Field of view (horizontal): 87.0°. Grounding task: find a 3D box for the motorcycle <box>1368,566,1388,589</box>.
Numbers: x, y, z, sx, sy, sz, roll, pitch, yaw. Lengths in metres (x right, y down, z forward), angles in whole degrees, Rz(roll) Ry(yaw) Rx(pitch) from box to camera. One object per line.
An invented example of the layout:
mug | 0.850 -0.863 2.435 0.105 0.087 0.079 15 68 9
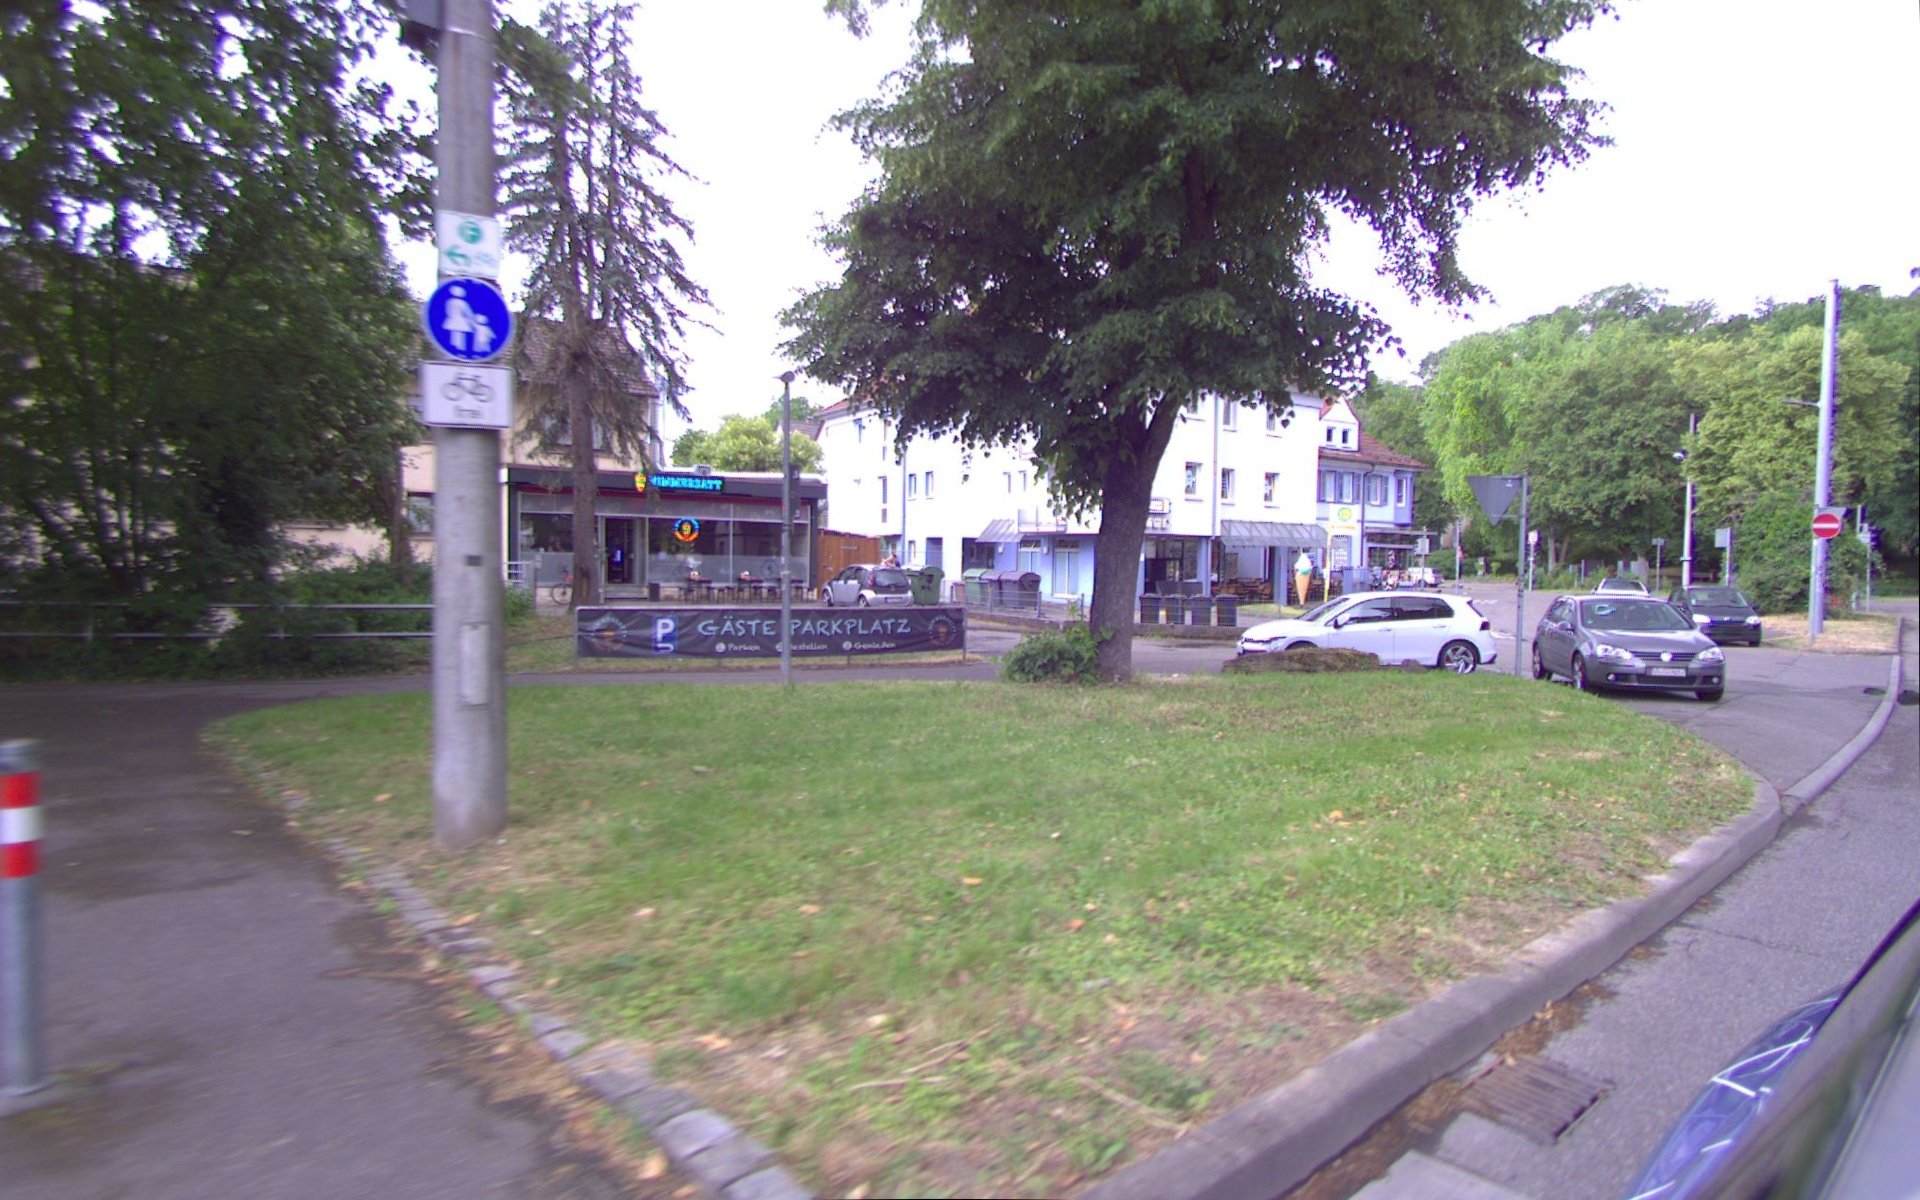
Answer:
motorcycle | 20.124 -1.075 48.671 0.487 1.044 1.703 2 3 36

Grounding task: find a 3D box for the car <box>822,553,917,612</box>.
car | -2.836 -0.596 31.235 1.592 1.650 3.429 -1 4 -31

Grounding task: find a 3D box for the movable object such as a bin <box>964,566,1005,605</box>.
movable object such as a bin | 0.927 -0.576 38.609 1.072 1.412 1.220 -1 3 -28

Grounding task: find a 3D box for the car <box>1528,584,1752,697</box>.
car | 10.162 0.496 15.487 1.710 1.447 4.090 1 1 17

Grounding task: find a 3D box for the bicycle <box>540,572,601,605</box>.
bicycle | -11.417 -0.336 29.616 1.944 0.886 0.410 2 2 24

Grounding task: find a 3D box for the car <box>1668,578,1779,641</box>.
car | 19.293 0.178 25.714 1.557 1.421 3.464 2 2 26

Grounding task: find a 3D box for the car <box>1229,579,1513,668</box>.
car | 7.018 0.369 17.637 4.184 1.397 1.764 1 2 4

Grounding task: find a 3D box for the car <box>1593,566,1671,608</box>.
car | 25.745 -0.559 38.926 1.982 1.403 4.743 2 4 28

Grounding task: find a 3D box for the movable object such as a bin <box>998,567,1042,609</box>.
movable object such as a bin | 2.143 -0.428 36.223 1.072 1.433 1.220 -1 3 -28

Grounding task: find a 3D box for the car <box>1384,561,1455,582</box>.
car | 34.224 -2.126 75.454 1.863 1.473 4.551 -1 3 -31

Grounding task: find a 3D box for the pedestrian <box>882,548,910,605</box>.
pedestrian | -2.007 -0.757 31.619 0.600 1.750 0.689 -2 3 -37

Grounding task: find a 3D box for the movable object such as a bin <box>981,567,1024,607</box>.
movable object such as a bin | 1.558 -0.504 37.457 1.137 1.412 1.220 -1 3 -28

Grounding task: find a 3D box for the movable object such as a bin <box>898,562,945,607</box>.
movable object such as a bin | -1.235 -0.504 32.349 0.977 1.361 1.220 -2 4 -37

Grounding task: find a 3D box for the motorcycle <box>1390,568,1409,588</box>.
motorcycle | 22.081 -1.118 50.831 0.519 0.997 1.800 2 3 36
